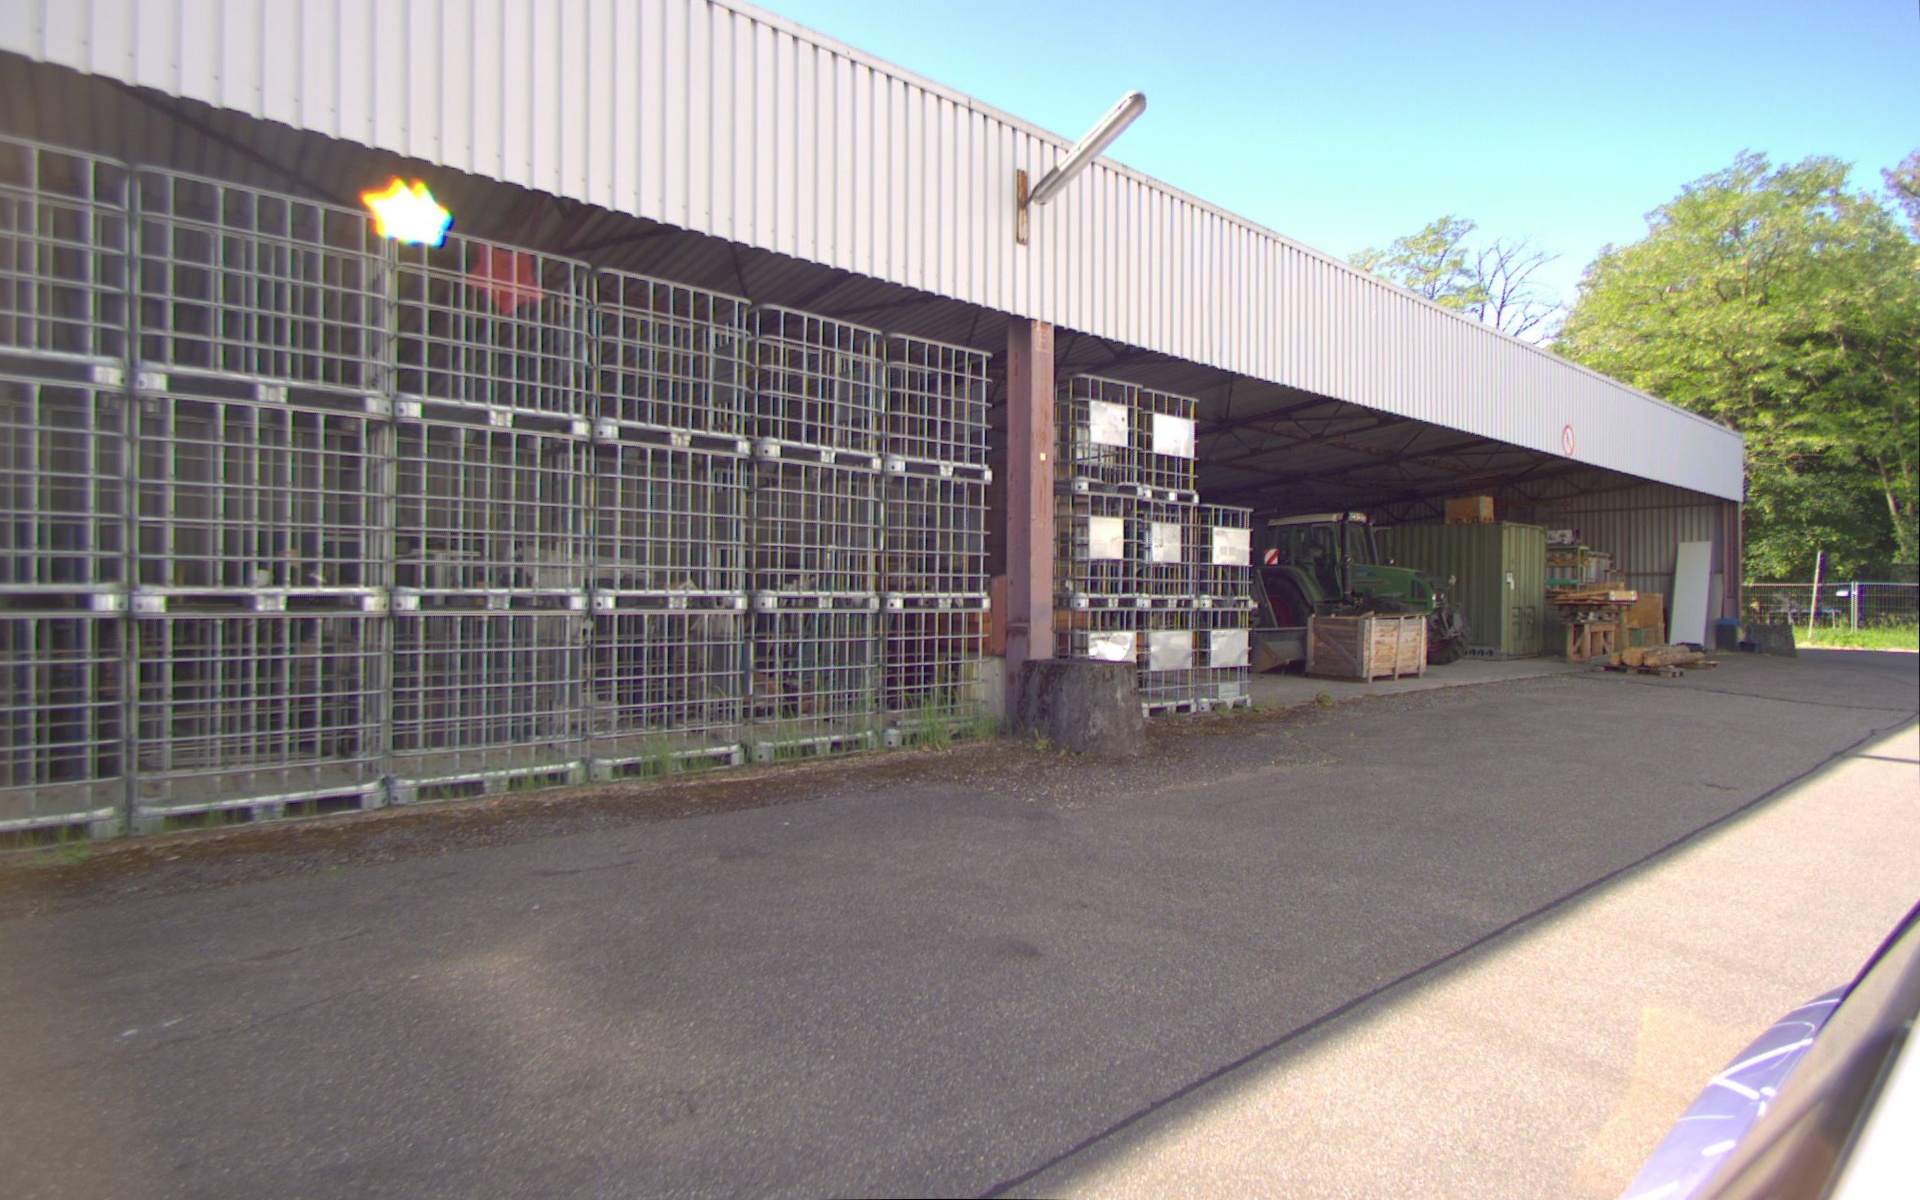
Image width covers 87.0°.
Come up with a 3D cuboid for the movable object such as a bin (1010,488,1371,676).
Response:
[{"bbox_3d":[4.095,-0.294,19.145,2.962,2.947,6.199,0,0,-39],"label":"movable object such as a bin"}]

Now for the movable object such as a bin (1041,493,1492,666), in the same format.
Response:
[{"bbox_3d":[6.042,-0.372,21.885,3.154,2.947,9.213,0,0,-39],"label":"movable object such as a bin"}]
